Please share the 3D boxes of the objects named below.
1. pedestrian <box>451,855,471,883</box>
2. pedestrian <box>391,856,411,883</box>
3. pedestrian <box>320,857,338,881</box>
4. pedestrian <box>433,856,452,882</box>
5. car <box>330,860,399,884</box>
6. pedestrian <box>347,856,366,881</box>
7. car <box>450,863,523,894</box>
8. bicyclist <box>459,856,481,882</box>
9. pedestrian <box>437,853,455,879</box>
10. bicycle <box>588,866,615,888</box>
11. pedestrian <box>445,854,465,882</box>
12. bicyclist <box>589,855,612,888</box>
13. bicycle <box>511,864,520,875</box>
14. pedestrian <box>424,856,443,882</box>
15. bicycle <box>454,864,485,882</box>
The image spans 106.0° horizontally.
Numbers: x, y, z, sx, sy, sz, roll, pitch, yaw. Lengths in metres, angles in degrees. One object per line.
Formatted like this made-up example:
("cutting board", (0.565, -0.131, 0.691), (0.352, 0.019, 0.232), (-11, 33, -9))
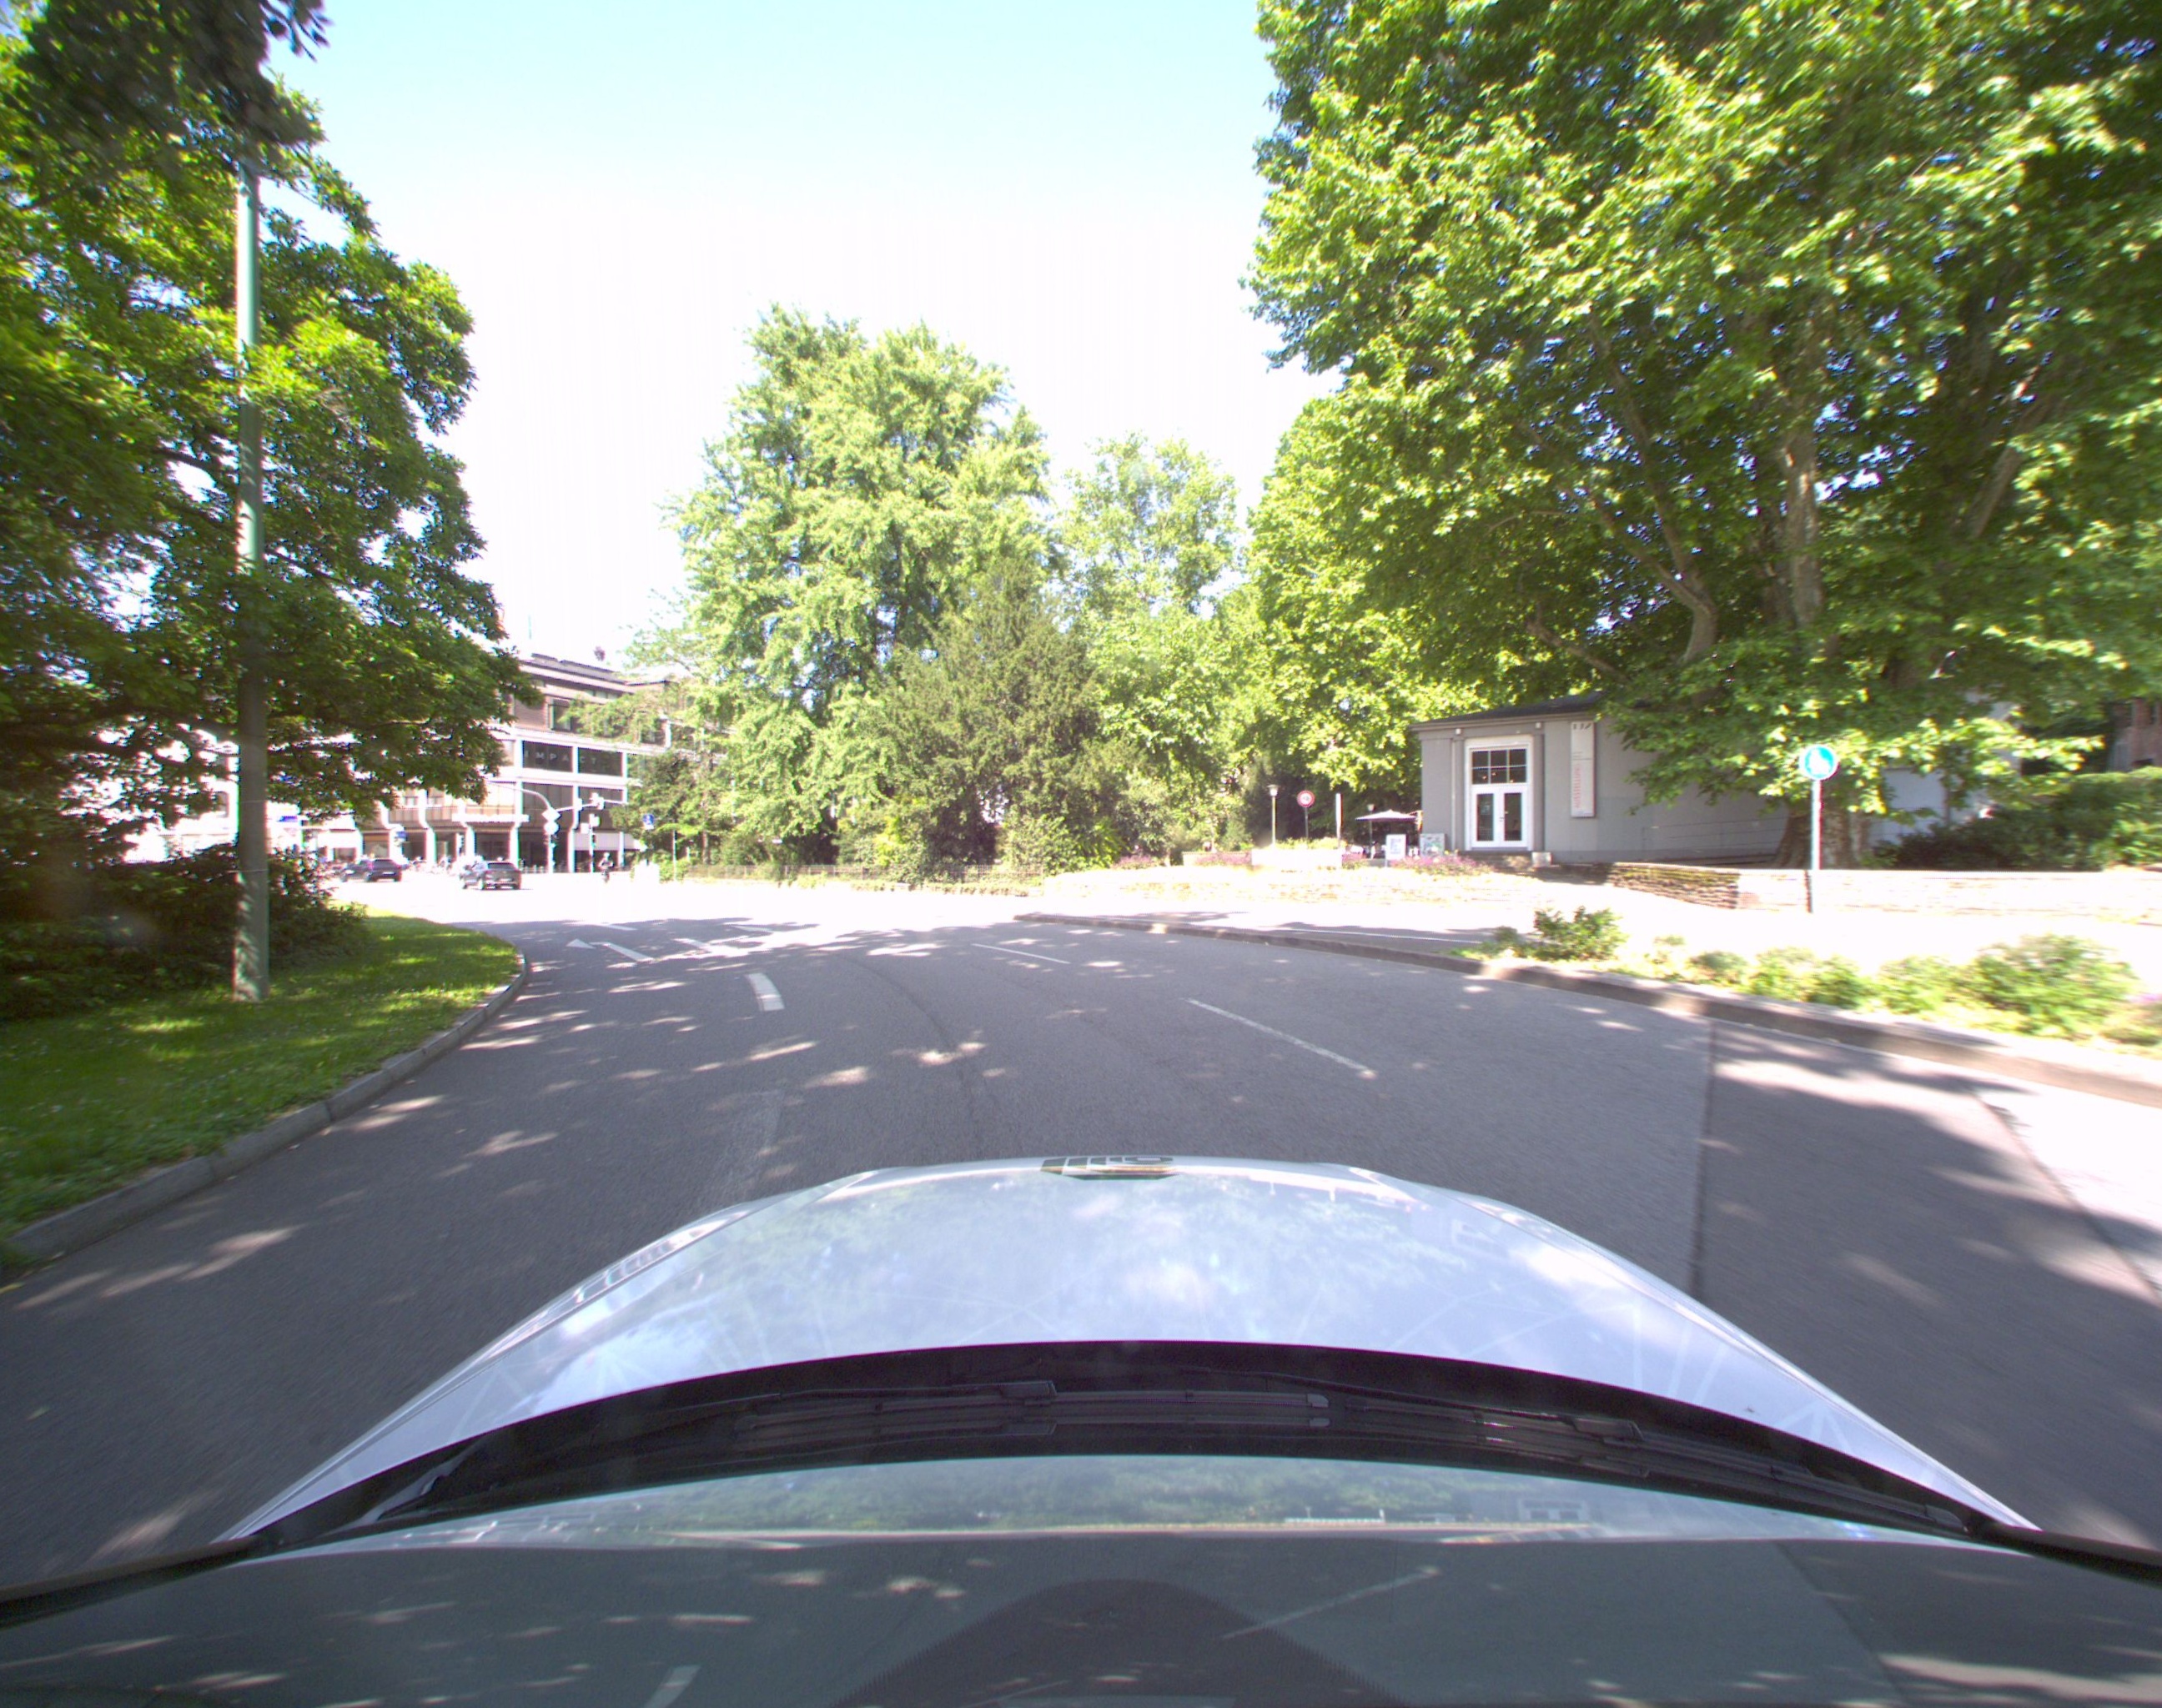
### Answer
("pedestrian", (-40.546, 0.944, 53.256), (0.819, 1.812, 0.778), (0, 0, 28))
("pedestrian", (-46.316, 1.024, 55.435), (0.819, 1.812, 0.778), (0, 0, 28))
("pedestrian", (-56.780, 1.101, 61.476), (0.819, 1.812, 0.778), (0, 0, 27))
("pedestrian", (-44.210, 1.023, 56.393), (0.819, 1.812, 0.778), (0, 0, 28))
("car", (-44.398, 1.117, 50.465), (3.746, 1.409, 1.843), (-1, 0, 26))
("pedestrian", (-53.142, 1.039, 59.733), (0.819, 1.812, 0.778), (0, 0, 28))
("car", (-31.398, 1.260, 42.965), (4.029, 1.537, 1.966), (-1, 0, 36))
("bicyclist", (-40.957, 0.981, 54.628), (1.115, 1.747, 0.757), (0, 0, 26))
("pedestrian", (-48.235, 0.899, 61.889), (0.819, 1.958, 0.778), (0, 0, 28))
("bicycle", (-26.582, 1.263, 45.112), (0.861, 1.160, 2.058), (0, 0, -43))
("pedestrian", (-41.345, 0.938, 53.764), (0.819, 1.812, 0.778), (0, 0, 28))
("bicyclist", (-26.663, 0.957, 45.205), (0.866, 1.796, 1.116), (0, 0, -43))
("bicycle", (-44.276, 1.214, 63.776), (0.511, 0.901, 1.505), (-1, 0, -37))
("pedestrian", (-45.194, 1.025, 56.870), (0.819, 1.812, 0.778), (0, 0, 28))
("bicycle", (-41.047, 1.272, 54.661), (2.297, 1.180, 0.734), (-1, -1, 26))
